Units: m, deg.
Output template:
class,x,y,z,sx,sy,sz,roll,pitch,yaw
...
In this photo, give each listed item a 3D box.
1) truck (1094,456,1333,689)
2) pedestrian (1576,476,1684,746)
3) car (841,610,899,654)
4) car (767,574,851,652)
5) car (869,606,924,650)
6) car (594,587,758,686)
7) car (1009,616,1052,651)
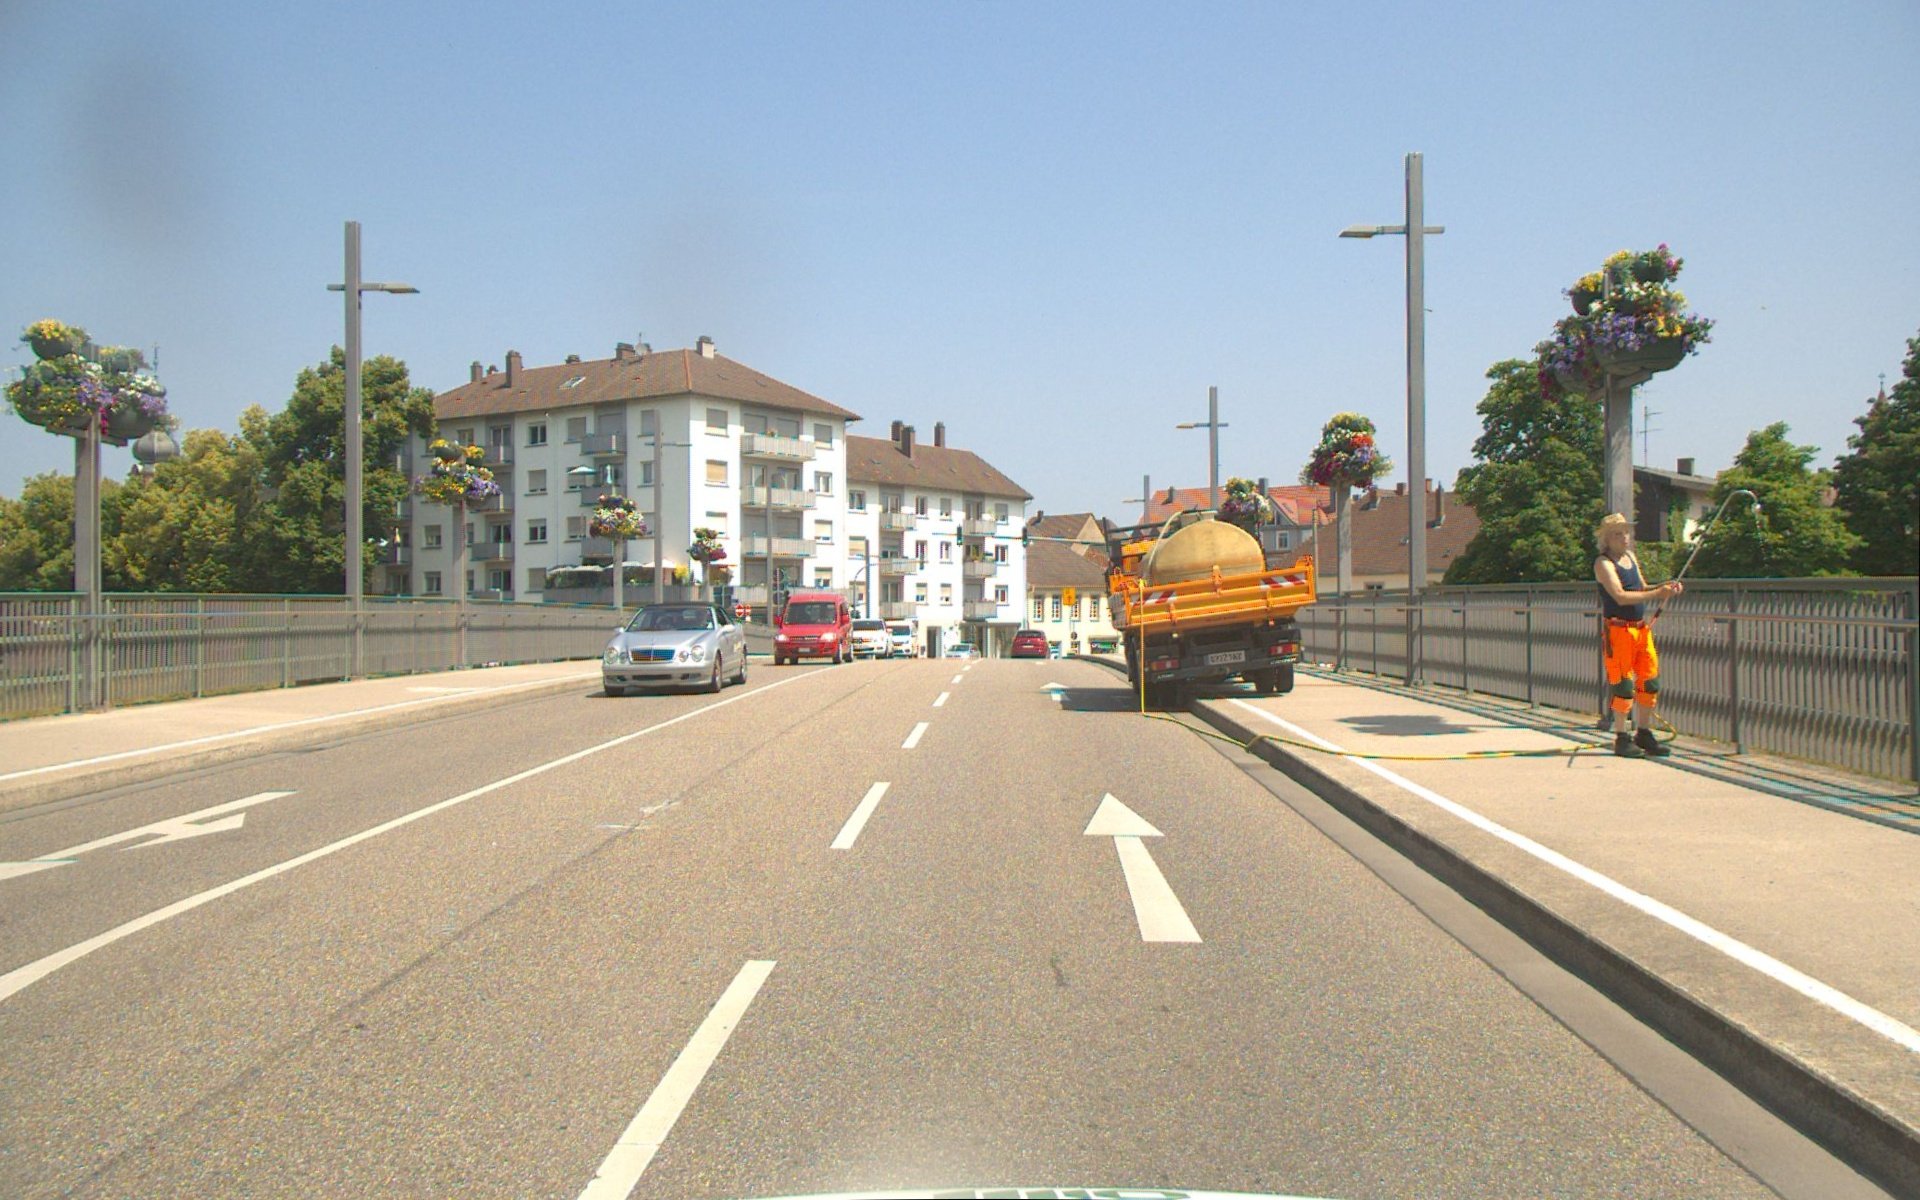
class,x,y,z,sx,sy,sz,roll,pitch,yaw
truck,3.278,-0.348,22.748,2.551,2.738,5.825,-1,0,2
pedestrian,5.125,0.086,12.647,0.658,1.994,0.547,-1,-1,30
car,-3.174,1.105,58.829,1.806,1.457,4.713,-1,0,0
car,-3.696,0.326,41.136,1.700,1.808,4.176,-1,0,0
car,-2.917,1.281,77.224,1.721,1.890,4.650,1,1,8
car,-4.360,0.519,26.029,1.663,1.382,4.457,-1,0,2
car,3.536,1.659,83.736,1.949,1.641,4.342,-1,0,0
